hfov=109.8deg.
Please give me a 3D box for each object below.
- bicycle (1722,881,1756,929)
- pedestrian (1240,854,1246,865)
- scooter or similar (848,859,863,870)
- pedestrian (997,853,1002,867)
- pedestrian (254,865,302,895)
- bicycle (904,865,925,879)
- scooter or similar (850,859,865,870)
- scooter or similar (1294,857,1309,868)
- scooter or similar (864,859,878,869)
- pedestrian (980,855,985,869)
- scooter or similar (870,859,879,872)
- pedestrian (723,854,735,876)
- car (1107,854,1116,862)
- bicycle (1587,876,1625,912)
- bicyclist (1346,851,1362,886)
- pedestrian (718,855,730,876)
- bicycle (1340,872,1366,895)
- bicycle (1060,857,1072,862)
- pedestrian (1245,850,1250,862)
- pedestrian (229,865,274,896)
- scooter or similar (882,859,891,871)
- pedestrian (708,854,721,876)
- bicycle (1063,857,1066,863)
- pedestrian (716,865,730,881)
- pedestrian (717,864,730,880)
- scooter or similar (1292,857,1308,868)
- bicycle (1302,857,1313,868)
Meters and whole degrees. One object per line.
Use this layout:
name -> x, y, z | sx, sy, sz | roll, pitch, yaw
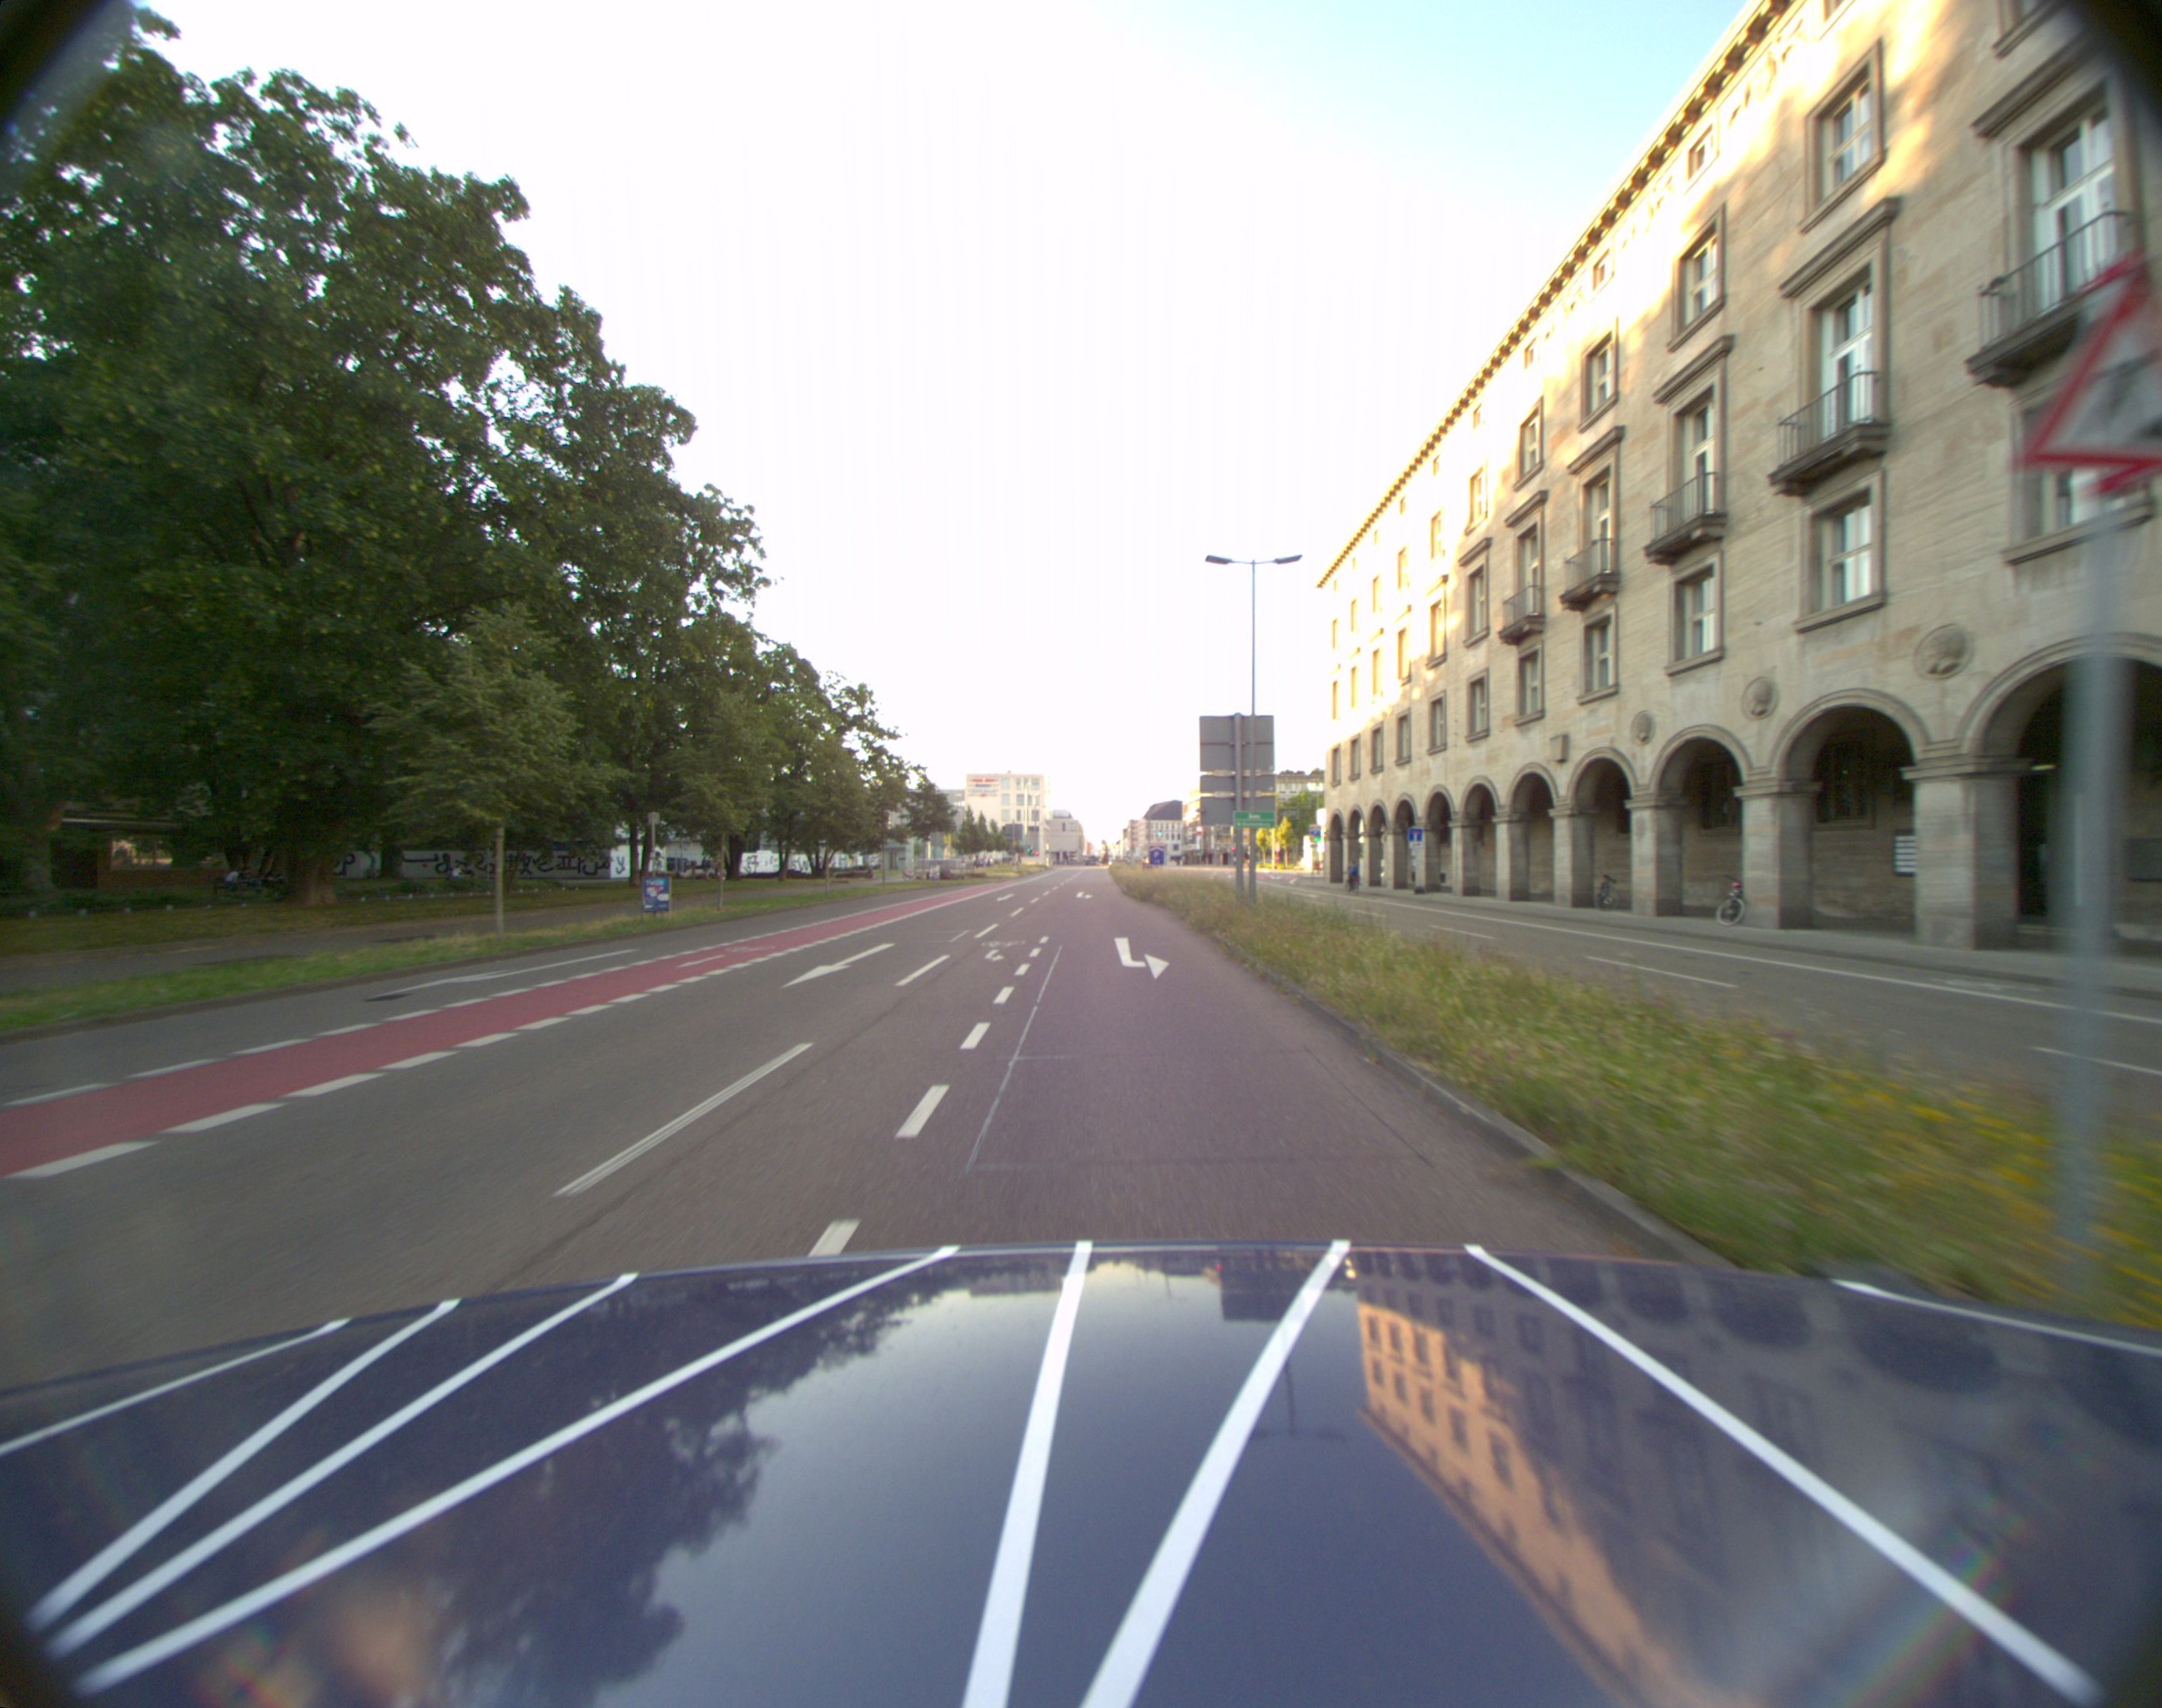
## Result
bicycle -> 15.477, 1.171, 17.897 | 0.477, 0.999, 2.009 | 0, 0, 38
pedestrian -> 24.880, 0.840, 116.744 | 0.874, 1.826, 0.776 | 0, 0, 3
scooter or similar -> -25.864, 1.198, 87.281 | 1.573, 1.213, 0.474 | -2, 1, -1
pedestrian -> -11.163, 0.874, 104.052 | 0.644, 1.922, 0.619 | 0, 0, 2
pedestrian -> -34.633, 1.122, 32.795 | 1.134, 1.253, 0.905 | 0, 0, 4
bicycle -> -12.148, 1.290, 55.379 | 0.494, 1.000, 1.901 | 3, 0, 21
scooter or similar -> -25.912, 1.186, 88.099 | 1.573, 1.213, 0.474 | -2, 1, -1
scooter or similar -> 27.434, 1.049, 94.567 | 1.840, 1.297, 0.423 | 0, 1, -5
scooter or similar -> -26.480, 1.262, 95.663 | 1.573, 1.213, 0.474 | -1, 1, -1
pedestrian -> -13.497, 1.144, 104.111 | 0.644, 1.922, 0.619 | 0, 0, 4
scooter or similar -> -20.395, 1.104, 75.088 | 0.474, 1.213, 1.574 | 2, 0, -5
pedestrian -> -30.385, 0.975, 65.626 | 0.768, 1.908, 0.601 | 0, 0, 16
car -> 7.248, 0.859, 178.366 | 2.071, 1.642, 3.999 | 0, 3, 3
bicycle -> 15.819, 1.180, 22.929 | 0.477, 0.999, 2.008 | 0, 0, 20
bicyclist -> 13.073, 0.686, 36.378 | 0.537, 1.683, 0.748 | 0, 1, 2
pedestrian -> -31.437, 0.987, 66.972 | 0.768, 1.810, 0.601 | 0, 0, 16
bicycle -> 13.081, 1.408, 36.578 | 0.543, 1.000, 2.004 | 0, 2, 1
bicycle -> -3.474, 1.383, 179.933 | 2.804, 1.209, 0.765 | 0, 0, 11
pedestrian -> 25.851, 0.319, 117.741 | 0.661, 1.921, 0.648 | 0, -1, 3
pedestrian -> -34.759, 1.110, 31.848 | 1.134, 1.253, 0.726 | 0, 0, 4
scooter or similar -> -19.222, 1.091, 75.137 | 0.424, 1.213, 1.399 | 2, 0, 2
pedestrian -> -32.074, 0.958, 66.522 | 0.768, 1.845, 0.601 | 0, 0, 16
bicycle -> -3.923, 1.326, 177.763 | 0.619, 1.316, 2.509 | 0, 0, 0
pedestrian -> -20.512, 1.069, 43.560 | 0.682, 0.879, 0.622 | 0, 0, -22
pedestrian -> -20.234, 1.006, 43.010 | 0.682, 0.879, 0.592 | 0, 0, -23
scooter or similar -> 27.408, 1.056, 95.009 | 1.836, 1.297, 0.423 | 0, 1, -5
bicycle -> 27.554, 1.012, 92.562 | 0.619, 1.316, 2.509 | 0, 0, 0
